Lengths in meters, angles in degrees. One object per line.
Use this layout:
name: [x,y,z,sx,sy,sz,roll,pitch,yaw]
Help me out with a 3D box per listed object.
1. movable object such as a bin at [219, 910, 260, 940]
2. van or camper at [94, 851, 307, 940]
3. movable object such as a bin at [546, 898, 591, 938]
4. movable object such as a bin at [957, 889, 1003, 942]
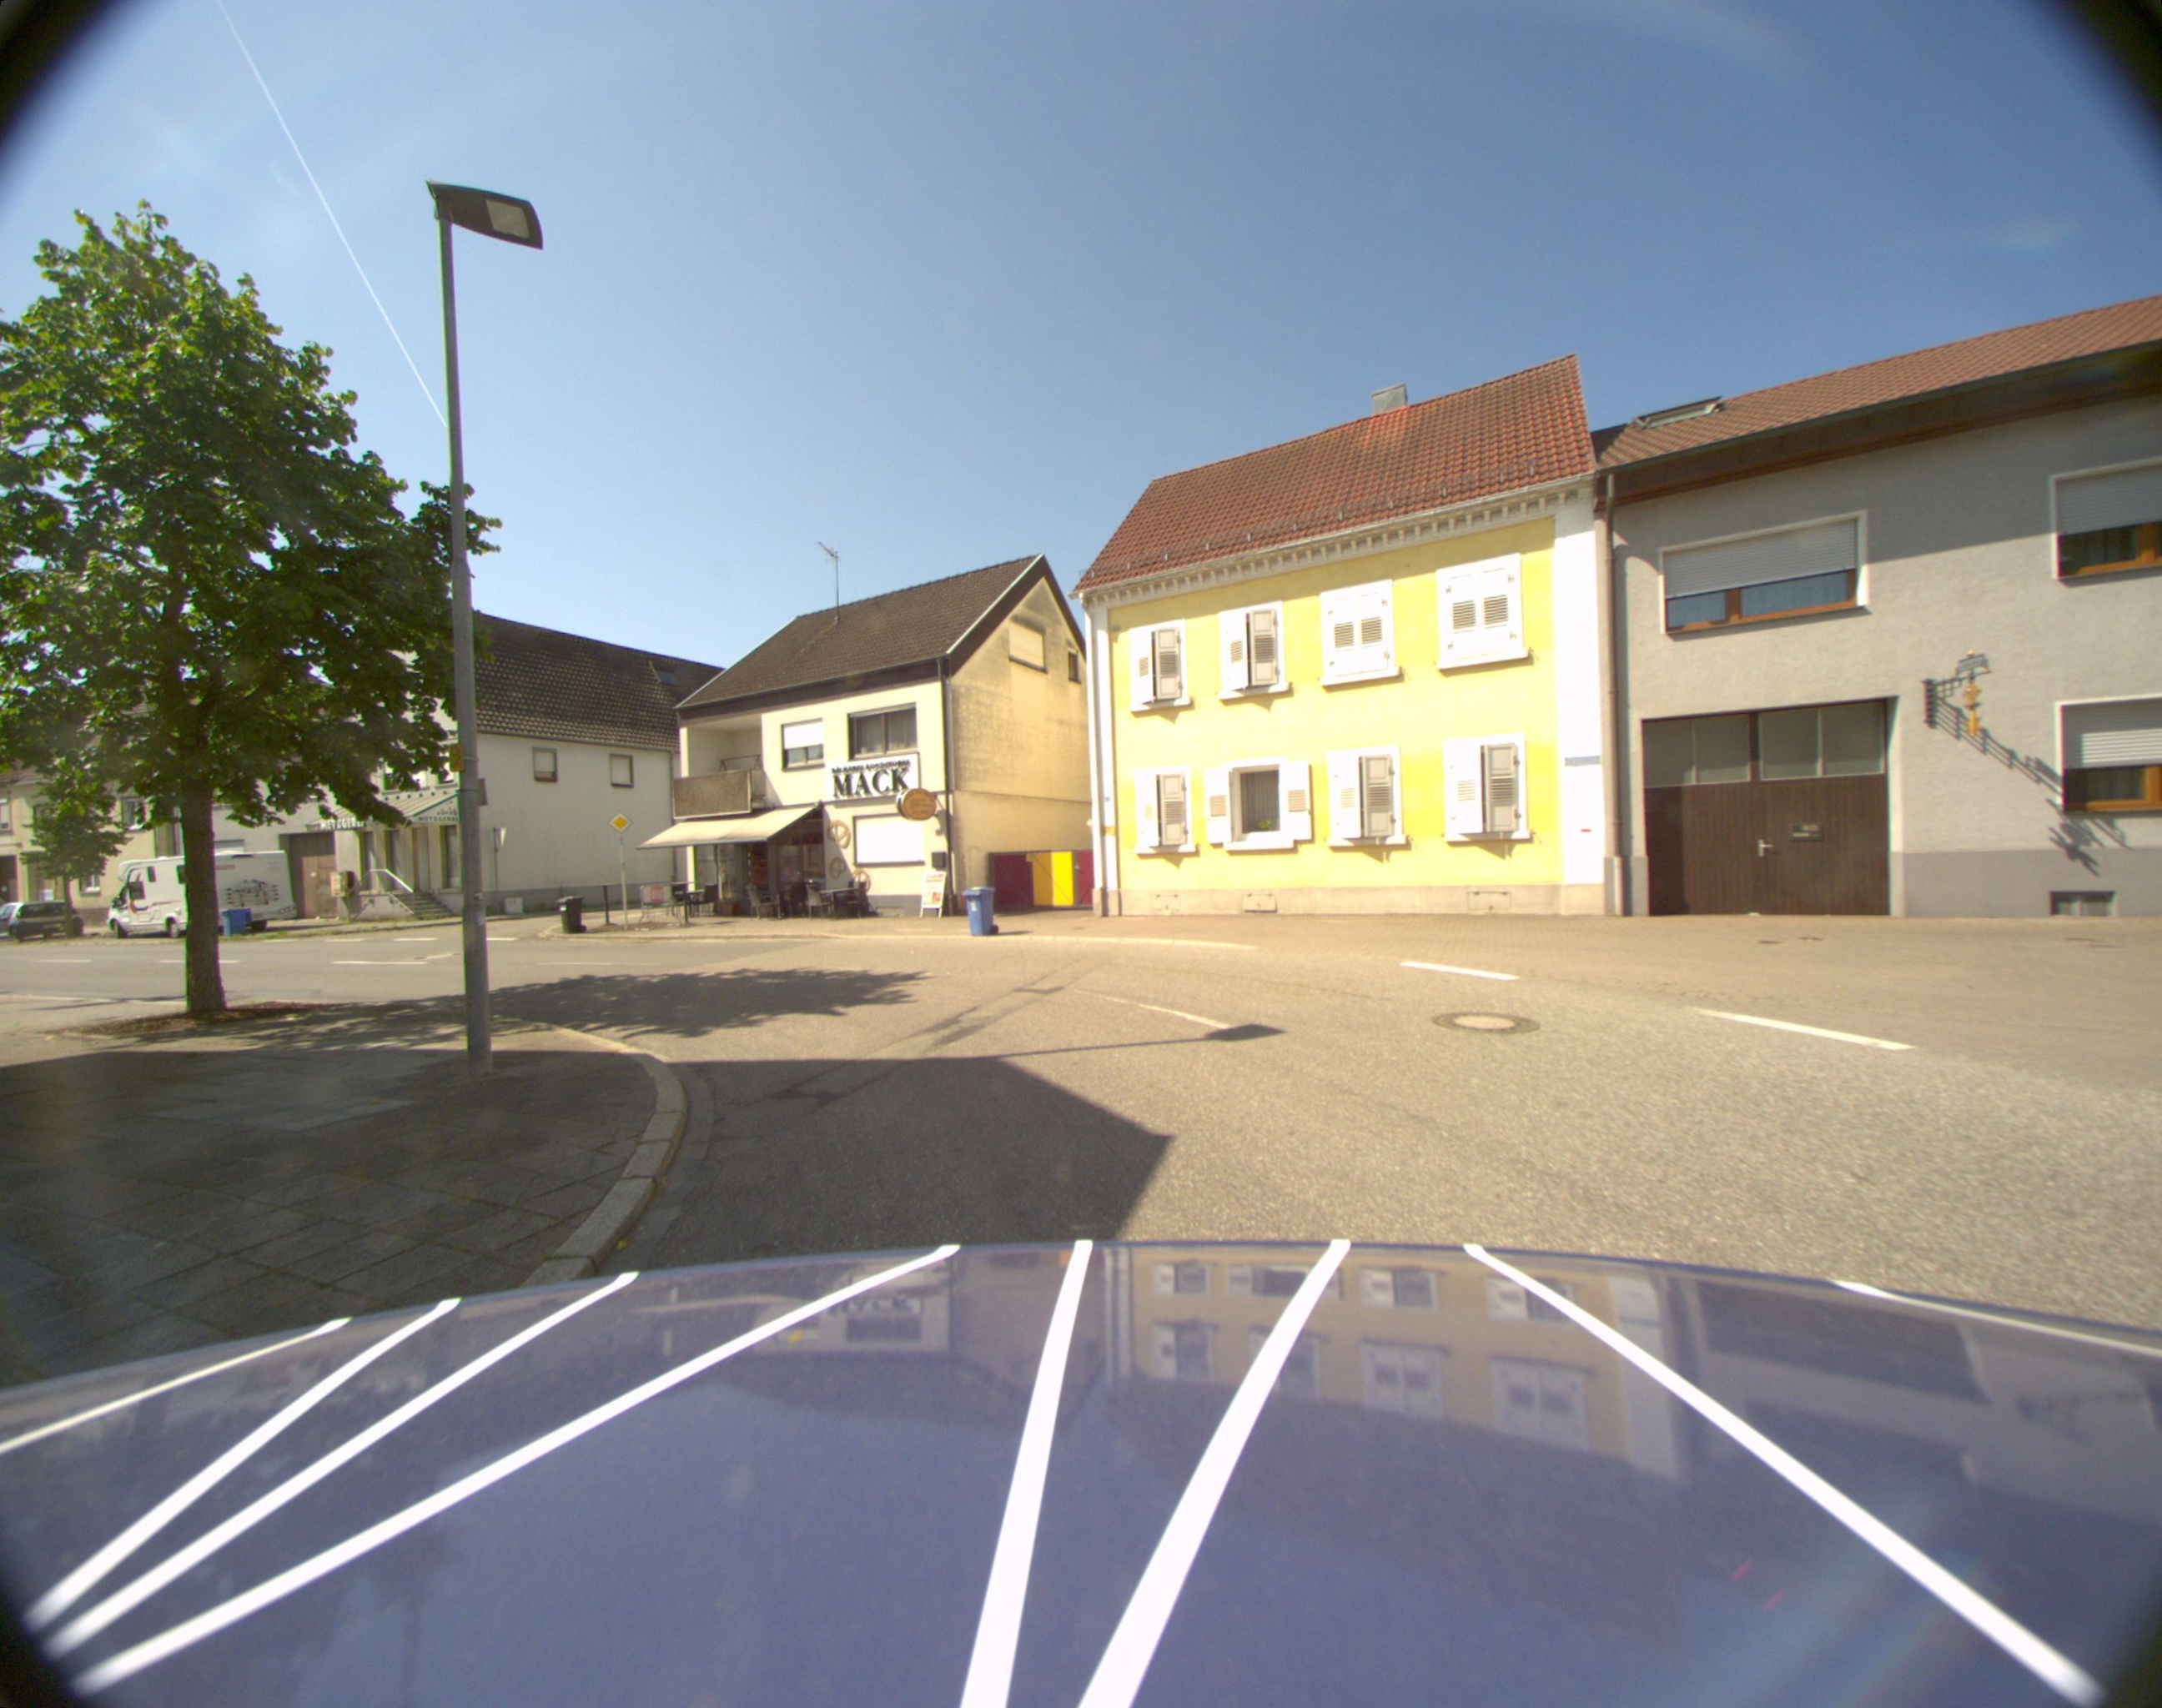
movable object such as a bin: [-26.696,2.244,24.113,0.612,0.867,0.645,-2,1,18]
van or camper: [-31.748,1.507,27.400,7.052,2.888,2.456,-2,1,19]
movable object such as a bin: [-12.959,1.611,19.216,0.612,0.919,0.645,-2,1,18]
movable object such as a bin: [-1.968,1.193,14.876,0.612,0.975,0.645,-2,1,21]
